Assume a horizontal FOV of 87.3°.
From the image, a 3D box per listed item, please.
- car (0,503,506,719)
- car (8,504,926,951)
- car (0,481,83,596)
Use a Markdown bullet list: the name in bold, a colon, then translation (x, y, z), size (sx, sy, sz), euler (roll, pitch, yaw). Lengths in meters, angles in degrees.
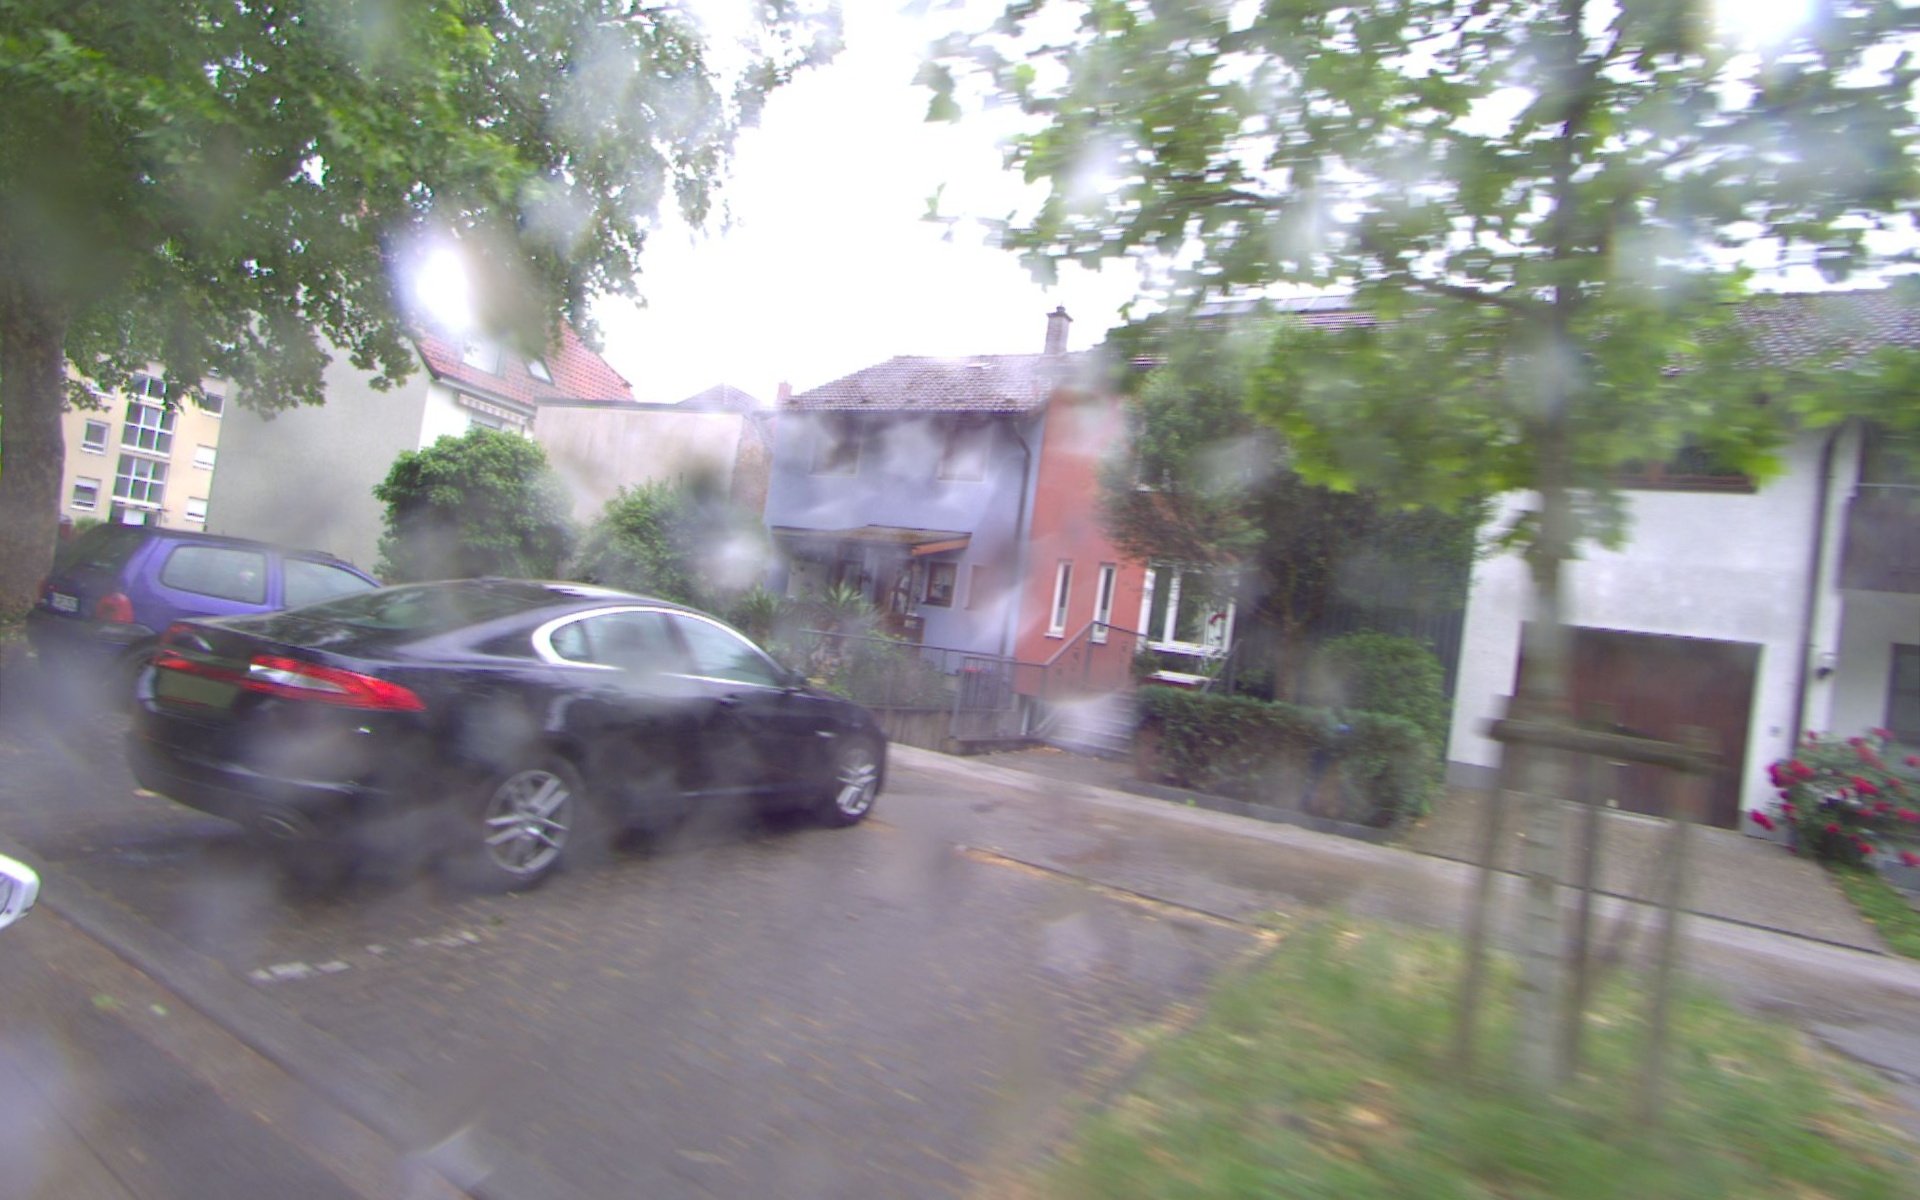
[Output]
- **car**: translation (-6.246, 0.209, 9.220), size (1.591, 1.480, 3.364), euler (7, -2, 30)
- **car**: translation (-2.253, 0.640, 6.189), size (1.903, 1.490, 4.780), euler (7, -2, 27)
- **car**: translation (-17.535, -1.296, 15.735), size (1.812, 1.828, 5.355), euler (7, -1, 25)
